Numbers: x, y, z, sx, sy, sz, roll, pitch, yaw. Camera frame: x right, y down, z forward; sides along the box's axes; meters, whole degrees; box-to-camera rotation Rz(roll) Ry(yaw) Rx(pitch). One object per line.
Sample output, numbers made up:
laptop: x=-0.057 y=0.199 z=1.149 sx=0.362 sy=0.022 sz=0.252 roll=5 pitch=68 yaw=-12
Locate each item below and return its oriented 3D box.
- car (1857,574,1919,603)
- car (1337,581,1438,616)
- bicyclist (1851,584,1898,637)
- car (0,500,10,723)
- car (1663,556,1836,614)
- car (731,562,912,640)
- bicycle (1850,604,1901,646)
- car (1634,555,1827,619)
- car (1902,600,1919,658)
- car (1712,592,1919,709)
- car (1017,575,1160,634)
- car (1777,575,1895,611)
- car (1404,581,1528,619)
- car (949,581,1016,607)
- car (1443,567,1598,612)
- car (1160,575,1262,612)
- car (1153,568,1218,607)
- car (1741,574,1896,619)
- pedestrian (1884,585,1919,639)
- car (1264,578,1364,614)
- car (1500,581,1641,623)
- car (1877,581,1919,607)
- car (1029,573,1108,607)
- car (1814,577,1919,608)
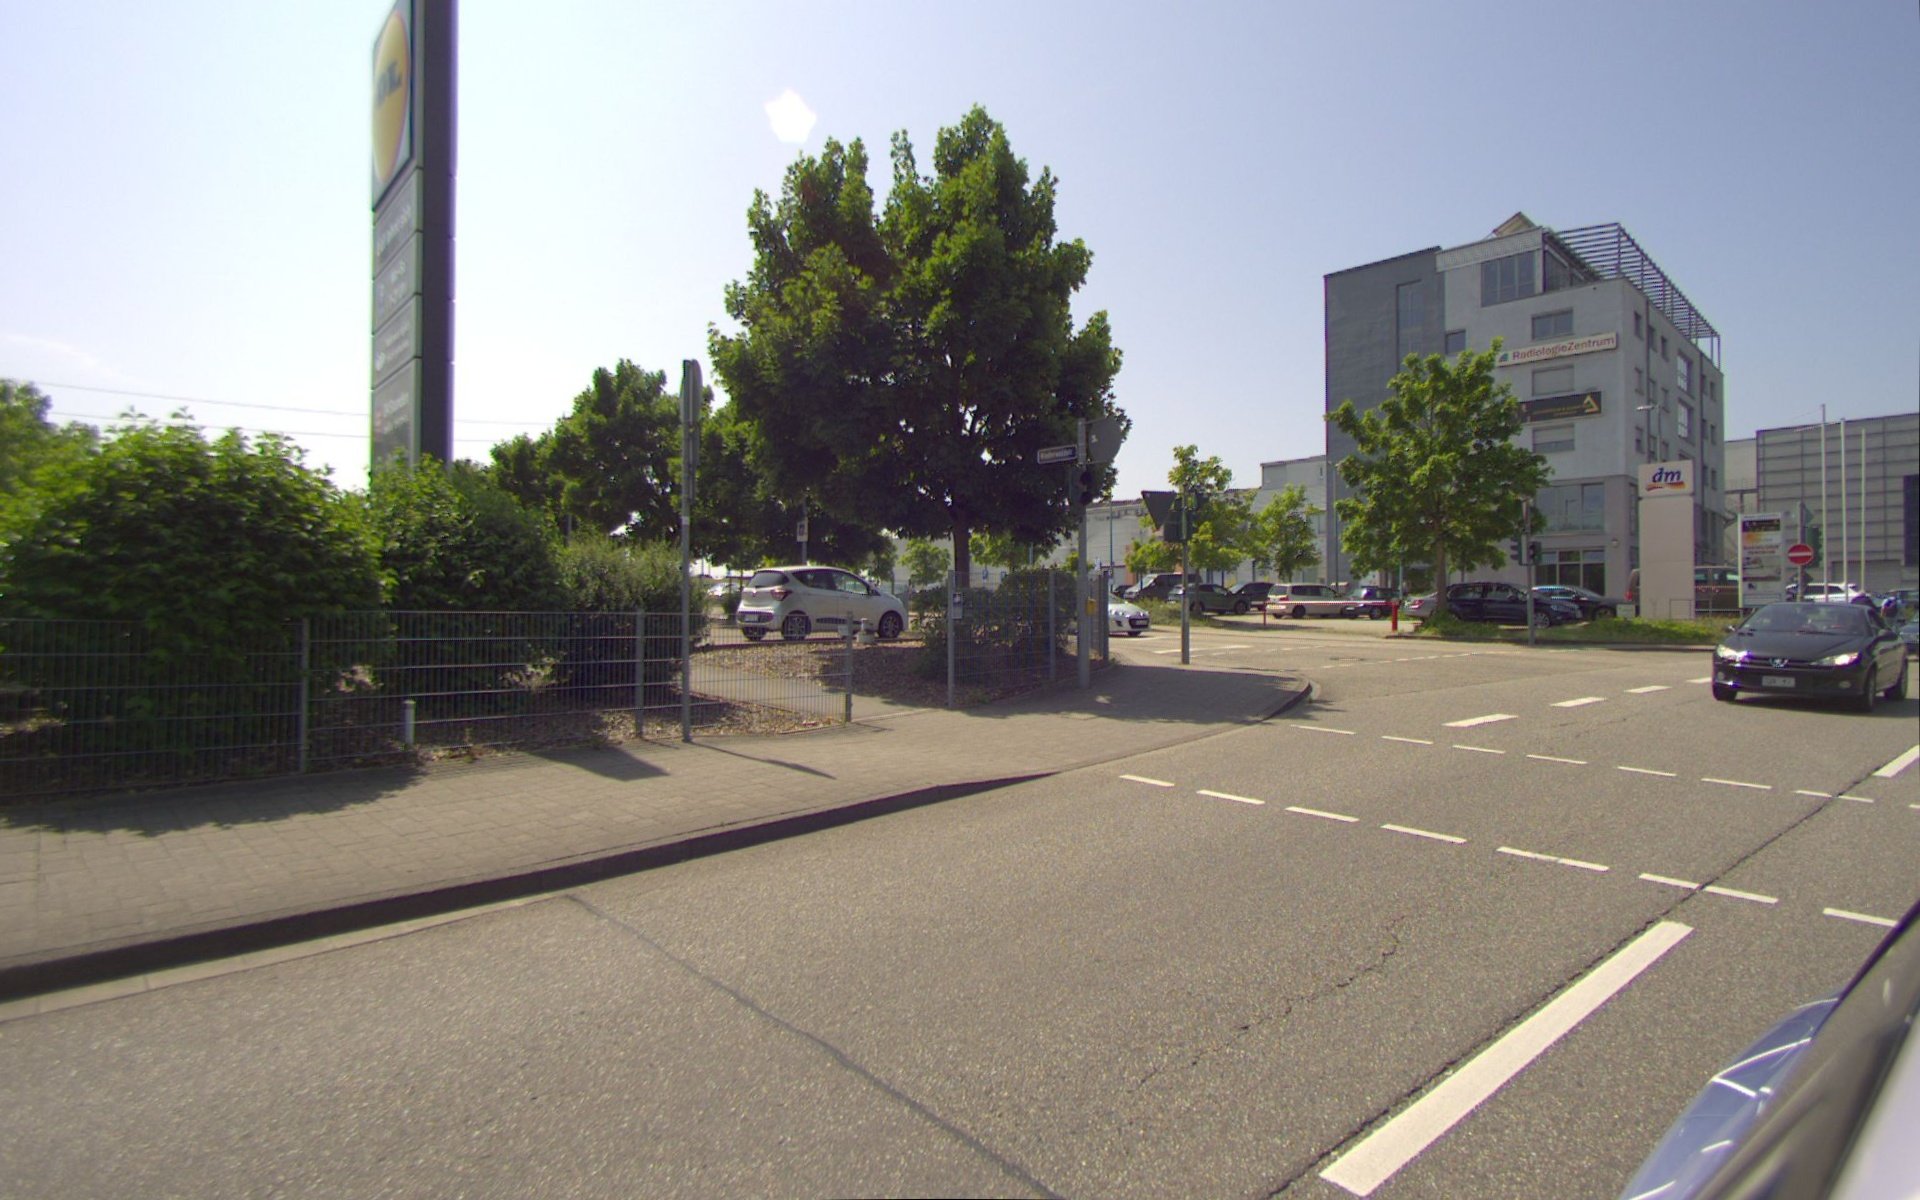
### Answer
car: x=51.118 y=-0.644 z=54.375 sx=1.727 sy=1.505 sz=4.135 roll=-1 pitch=-1 yaw=-39
car: x=19.083 y=-0.096 z=45.204 sx=3.917 sy=1.504 sz=2.004 roll=0 pitch=1 yaw=-24
bicyclist: x=26.307 y=0.302 z=29.108 sx=1.071 sy=1.483 sz=0.776 roll=0 pitch=-2 yaw=-38
car: x=-8.721 y=0.093 z=8.063 sx=1.669 sy=1.524 sz=4.580 roll=0 pitch=0 yaw=-43
car: x=27.714 y=-0.493 z=35.641 sx=1.965 sy=1.721 sz=4.417 roll=-1 pitch=-2 yaw=-40
car: x=-2.765 y=0.007 z=20.618 sx=3.475 sy=1.456 sz=1.421 roll=0 pitch=2 yaw=-44
bicycle: x=26.360 y=0.717 z=29.131 sx=1.873 sy=1.147 sz=0.759 roll=-1 pitch=-1 yaw=-38
car: x=25.795 y=-0.385 z=34.038 sx=2.143 sy=1.821 sz=4.703 roll=0 pitch=-3 yaw=-38
car: x=24.217 y=0.640 z=24.302 sx=3.883 sy=1.340 sz=1.711 roll=-1 pitch=-1 yaw=-38
car: x=11.823 y=0.597 z=13.862 sx=3.436 sy=1.373 sz=1.641 roll=0 pitch=1 yaw=-39
car: x=3.941 y=0.090 z=31.617 sx=1.778 sy=1.638 sz=4.252 roll=0 pitch=2 yaw=-44
car: x=40.117 y=-0.311 z=46.481 sx=3.979 sy=1.505 sz=1.734 roll=-2 pitch=-1 yaw=39
car: x=19.673 y=-0.029 z=39.520 sx=3.937 sy=1.415 sz=1.810 roll=1 pitch=1 yaw=11
car: x=1.416 y=-0.366 z=64.296 sx=3.916 sy=1.616 sz=1.772 roll=0 pitch=1 yaw=-20
car: x=17.854 y=-0.343 z=32.361 sx=1.832 sy=1.356 sz=3.991 roll=0 pitch=1 yaw=-43
car: x=12.752 y=-0.328 z=51.457 sx=4.647 sy=1.734 sz=2.003 roll=-1 pitch=-1 yaw=-20
car: x=13.360 y=-0.709 z=59.926 sx=3.358 sy=2.221 sz=1.675 roll=1 pitch=-2 yaw=-11
car: x=34.497 y=-0.126 z=40.753 sx=2.061 sy=1.630 sz=4.469 roll=-1 pitch=-1 yaw=-42
pedestrian: x=29.787 y=0.374 z=31.851 sx=0.987 sy=1.646 sz=0.830 roll=-2 pitch=0 yaw=-38
car: x=16.401 y=-0.186 z=46.964 sx=4.104 sy=1.620 sz=1.676 roll=0 pitch=0 yaw=-14
car: x=21.039 y=0.050 z=34.974 sx=1.727 sy=1.356 sz=3.875 roll=0 pitch=1 yaw=-43
car: x=56.476 y=-0.372 z=59.068 sx=1.727 sy=1.505 sz=4.136 roll=-1 pitch=1 yaw=-39
car: x=6.148 y=-0.528 z=57.254 sx=4.104 sy=1.812 sz=1.676 roll=1 pitch=-2 yaw=-16
car: x=45.204 y=-0.362 z=49.742 sx=1.769 sy=1.399 sz=4.753 roll=-1 pitch=-1 yaw=-42
